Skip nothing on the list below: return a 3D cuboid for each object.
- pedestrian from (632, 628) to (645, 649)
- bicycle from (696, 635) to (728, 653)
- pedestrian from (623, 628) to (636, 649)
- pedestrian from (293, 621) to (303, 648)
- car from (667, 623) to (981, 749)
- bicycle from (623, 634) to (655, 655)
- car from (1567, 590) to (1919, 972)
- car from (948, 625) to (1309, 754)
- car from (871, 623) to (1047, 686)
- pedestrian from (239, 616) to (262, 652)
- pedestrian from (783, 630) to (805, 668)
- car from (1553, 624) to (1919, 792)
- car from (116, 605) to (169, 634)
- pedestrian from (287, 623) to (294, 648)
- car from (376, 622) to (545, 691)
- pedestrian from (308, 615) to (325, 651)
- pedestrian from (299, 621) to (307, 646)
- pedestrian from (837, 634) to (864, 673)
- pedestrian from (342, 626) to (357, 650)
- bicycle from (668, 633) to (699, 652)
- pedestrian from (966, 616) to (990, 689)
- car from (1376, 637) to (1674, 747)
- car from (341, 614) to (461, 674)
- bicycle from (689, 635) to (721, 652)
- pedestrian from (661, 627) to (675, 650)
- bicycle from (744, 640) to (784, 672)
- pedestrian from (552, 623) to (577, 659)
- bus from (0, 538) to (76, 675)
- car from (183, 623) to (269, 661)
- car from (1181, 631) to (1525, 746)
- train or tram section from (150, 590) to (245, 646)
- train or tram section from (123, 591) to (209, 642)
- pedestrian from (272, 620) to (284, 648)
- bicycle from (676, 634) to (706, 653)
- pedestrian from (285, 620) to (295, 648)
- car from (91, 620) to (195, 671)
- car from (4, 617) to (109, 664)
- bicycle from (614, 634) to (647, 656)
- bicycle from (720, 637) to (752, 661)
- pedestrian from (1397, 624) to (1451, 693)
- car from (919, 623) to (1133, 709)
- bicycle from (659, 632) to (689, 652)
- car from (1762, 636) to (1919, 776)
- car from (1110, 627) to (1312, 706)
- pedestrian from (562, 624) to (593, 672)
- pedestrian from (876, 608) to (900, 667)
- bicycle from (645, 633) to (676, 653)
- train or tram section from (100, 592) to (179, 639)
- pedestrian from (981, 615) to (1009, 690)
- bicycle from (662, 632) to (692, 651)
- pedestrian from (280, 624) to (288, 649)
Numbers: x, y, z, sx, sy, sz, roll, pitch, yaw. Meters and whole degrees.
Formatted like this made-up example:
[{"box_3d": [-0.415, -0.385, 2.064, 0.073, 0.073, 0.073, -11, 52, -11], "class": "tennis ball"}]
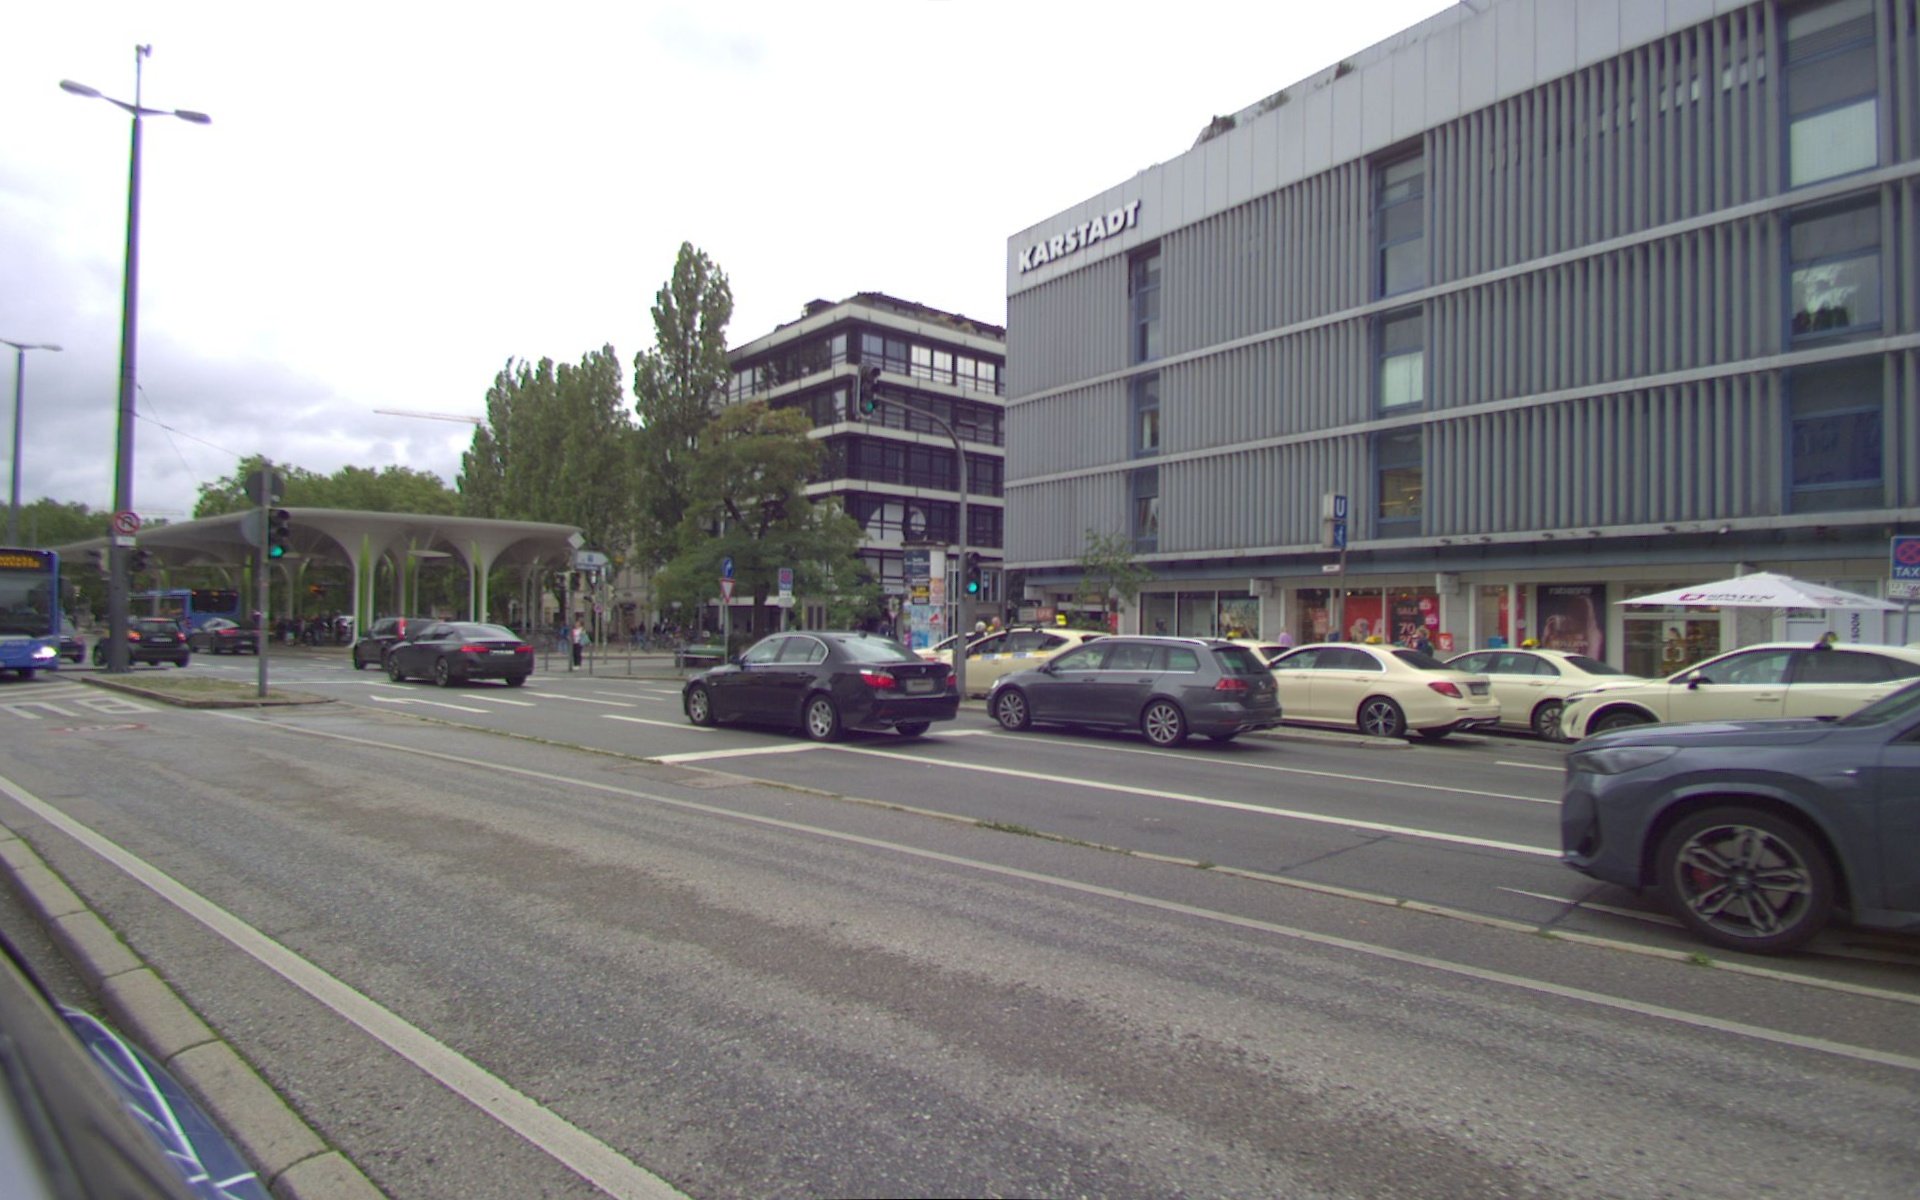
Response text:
[{"box_3d": [-27.729, 3.307, 87.254, 0.788, 1.737, 0.828, 2, -2, -38], "class": "pedestrian"}, {"box_3d": [-16.456, 2.908, 67.157, 2.044, 1.142, 0.561, 2, -3, -44], "class": "bicycle"}, {"box_3d": [-28.264, 3.306, 86.459, 0.788, 1.737, 0.828, 2, -2, -38], "class": "pedestrian"}, {"box_3d": [-36.500, 1.892, 55.818, 0.316, 1.514, 0.331, -1, -2, 31], "class": "pedestrian"}, {"box_3d": [-2.075, 1.096, 14.364, 4.734, 1.498, 1.816, -1, -3, 43], "class": "car"}, {"box_3d": [-17.059, 2.367, 53.797, 1.660, 1.106, 0.470, 0, -2, 17], "class": "bicycle"}, {"box_3d": [5.430, 0.813, 4.492, 4.412, 1.633, 1.972, -1, -4, 42], "class": "car"}, {"box_3d": [2.304, 1.175, 14.804, 4.946, 1.558, 1.938, -1, -3, 42], "class": "car"}, {"box_3d": [-0.029, 1.397, 26.623, 4.276, 1.522, 1.843, 0, -2, 27], "class": "car"}, {"box_3d": [-35.203, 1.690, 50.202, 0.787, 1.762, 0.702, -1, -3, 40], "class": "pedestrian"}, {"box_3d": [-7.693, 2.263, 46.818, 0.647, 1.748, 0.757, -1, -2, 33], "class": "pedestrian"}, {"box_3d": [9.730, 1.173, 11.908, 1.861, 1.711, 4.391, 4, -3, -38], "class": "car"}, {"box_3d": [-44.326, 1.046, 54.851, 2.744, 1.527, 1.653, -1, -3, 39], "class": "car"}, {"box_3d": [-36.654, 1.966, 55.403, 0.312, 1.353, 0.340, 2, -2, -32], "class": "pedestrian"}, {"box_3d": [-12.222, 1.315, 24.612, 5.021, 1.519, 1.972, -1, -3, 43], "class": "car"}, {"box_3d": [-33.827, 1.731, 53.194, 0.656, 1.865, 0.790, 2, -2, -30], "class": "pedestrian"}, {"box_3d": [-36.195, 1.845, 55.759, 0.270, 1.387, 0.299, -1, -3, 38], "class": "pedestrian"}, {"box_3d": [-3.813, 1.850, 35.174, 0.773, 1.318, 0.537, -1, -3, 42], "class": "pedestrian"}, {"box_3d": [-34.321, 2.125, 56.929, 0.591, 1.348, 0.542, -1, -3, 40], "class": "pedestrian"}, {"box_3d": [-16.145, 2.490, 59.132, 1.655, 1.106, 0.472, 0, -2, 7], "class": "bicycle"}, {"box_3d": [0.420, 1.198, 23.403, 0.425, 1.668, 0.360, 0, 0, 40], "class": "pedestrian"}, {"box_3d": [9.279, 1.431, 16.869, 1.730, 1.548, 4.006, 2, -2, -41], "class": "car"}, {"box_3d": [-17.998, 1.389, 32.492, 4.598, 1.791, 1.972, -1, -3, 43], "class": "car"}, {"box_3d": [-17.081, 2.905, 67.716, 2.044, 1.142, 0.561, 2, -3, -44], "class": "bicycle"}, {"box_3d": [-22.068, 2.913, 76.442, 0.821, 1.712, 0.907, 2, -2, -27], "class": "pedestrian"}, {"box_3d": [-6.323, 1.805, 32.713, 0.419, 1.024, 1.281, -1, -3, 39], "class": "bicycle"}, {"box_3d": [-20.417, 2.114, 52.238, 0.980, 1.791, 0.849, -1, -3, 42], "class": "pedestrian"}, {"box_3d": [-25.316, 0.143, 25.245, 11.199, 2.966, 2.906, 0, -1, 38], "class": "bus"}, {"box_3d": [-32.422, 1.810, 44.648, 4.613, 1.589, 1.973, -1, -2, 40], "class": "car"}, {"box_3d": [6.124, 1.293, 16.317, 1.921, 1.552, 4.856, 2, -2, -39], "class": "car"}, {"box_3d": [-44.153, 1.060, 58.511, 7.403, 3.024, 2.804, -1, -2, 41], "class": "train or tram section"}, {"box_3d": [-49.731, 1.072, 63.343, 7.403, 3.024, 2.804, -1, -2, 41], "class": "train or tram section"}, {"box_3d": [-37.366, 1.859, 55.455, 0.419, 1.514, 0.491, 2, -2, -23], "class": "pedestrian"}, {"box_3d": [-16.026, 2.605, 60.396, 1.655, 1.106, 0.472, 0, -2, 7], "class": "bicycle"}, {"box_3d": [-36.933, 1.878, 55.769, 0.316, 1.514, 0.317, -1, -2, 31], "class": "pedestrian"}, {"box_3d": [-25.682, 1.396, 31.805, 2.775, 1.518, 1.547, 0, -2, 28], "class": "car"}, {"box_3d": [-30.332, 1.350, 33.979, 3.374, 1.491, 1.612, -1, -3, 30], "class": "car"}, {"box_3d": [-17.258, 2.366, 53.017, 1.660, 1.106, 0.470, 0, -2, 17], "class": "bicycle"}, {"box_3d": [-10.089, 2.194, 45.534, 1.750, 1.006, 0.503, -1, -3, 42], "class": "bicycle"}, {"box_3d": [10.812, 1.352, 23.580, 0.722, 1.557, 0.901, 2, -2, -36], "class": "pedestrian"}, {"box_3d": [1.313, 1.319, 21.382, 4.474, 1.624, 1.570, -1, -3, 41], "class": "car"}, {"box_3d": [-16.238, 2.374, 57.477, 1.660, 1.106, 0.470, 0, -2, 17], "class": "bicycle"}, {"box_3d": [12.303, 1.280, 12.099, 1.750, 1.628, 4.006, 3, -2, -41], "class": "car"}, {"box_3d": [5.562, 1.415, 22.672, 4.000, 1.579, 1.886, -1, -3, 43], "class": "car"}, {"box_3d": [-12.650, 1.579, 33.465, 0.754, 1.563, 0.636, 0, 0, 15], "class": "pedestrian"}, {"box_3d": [-2.248, 1.160, 31.625, 0.510, 1.792, 0.555, 0, 0, 43], "class": "pedestrian"}, {"box_3d": [-16.629, 2.372, 56.123, 1.660, 1.106, 0.470, 0, -2, 17], "class": "bicycle"}, {"box_3d": [-55.338, 1.082, 68.184, 7.403, 3.024, 2.804, -1, -2, 41], "class": "train or tram section"}, {"box_3d": [0.833, 1.231, 23.930, 0.428, 1.742, 0.518, 0, 0, 40], "class": "pedestrian"}, {"box_3d": [-16.253, 2.376, 58.193, 1.660, 1.106, 0.470, 0, -2, 17], "class": "bicycle"}, {"box_3d": [-36.877, 1.965, 55.178, 0.312, 1.353, 0.340, 2, -2, -32], "class": "pedestrian"}]
